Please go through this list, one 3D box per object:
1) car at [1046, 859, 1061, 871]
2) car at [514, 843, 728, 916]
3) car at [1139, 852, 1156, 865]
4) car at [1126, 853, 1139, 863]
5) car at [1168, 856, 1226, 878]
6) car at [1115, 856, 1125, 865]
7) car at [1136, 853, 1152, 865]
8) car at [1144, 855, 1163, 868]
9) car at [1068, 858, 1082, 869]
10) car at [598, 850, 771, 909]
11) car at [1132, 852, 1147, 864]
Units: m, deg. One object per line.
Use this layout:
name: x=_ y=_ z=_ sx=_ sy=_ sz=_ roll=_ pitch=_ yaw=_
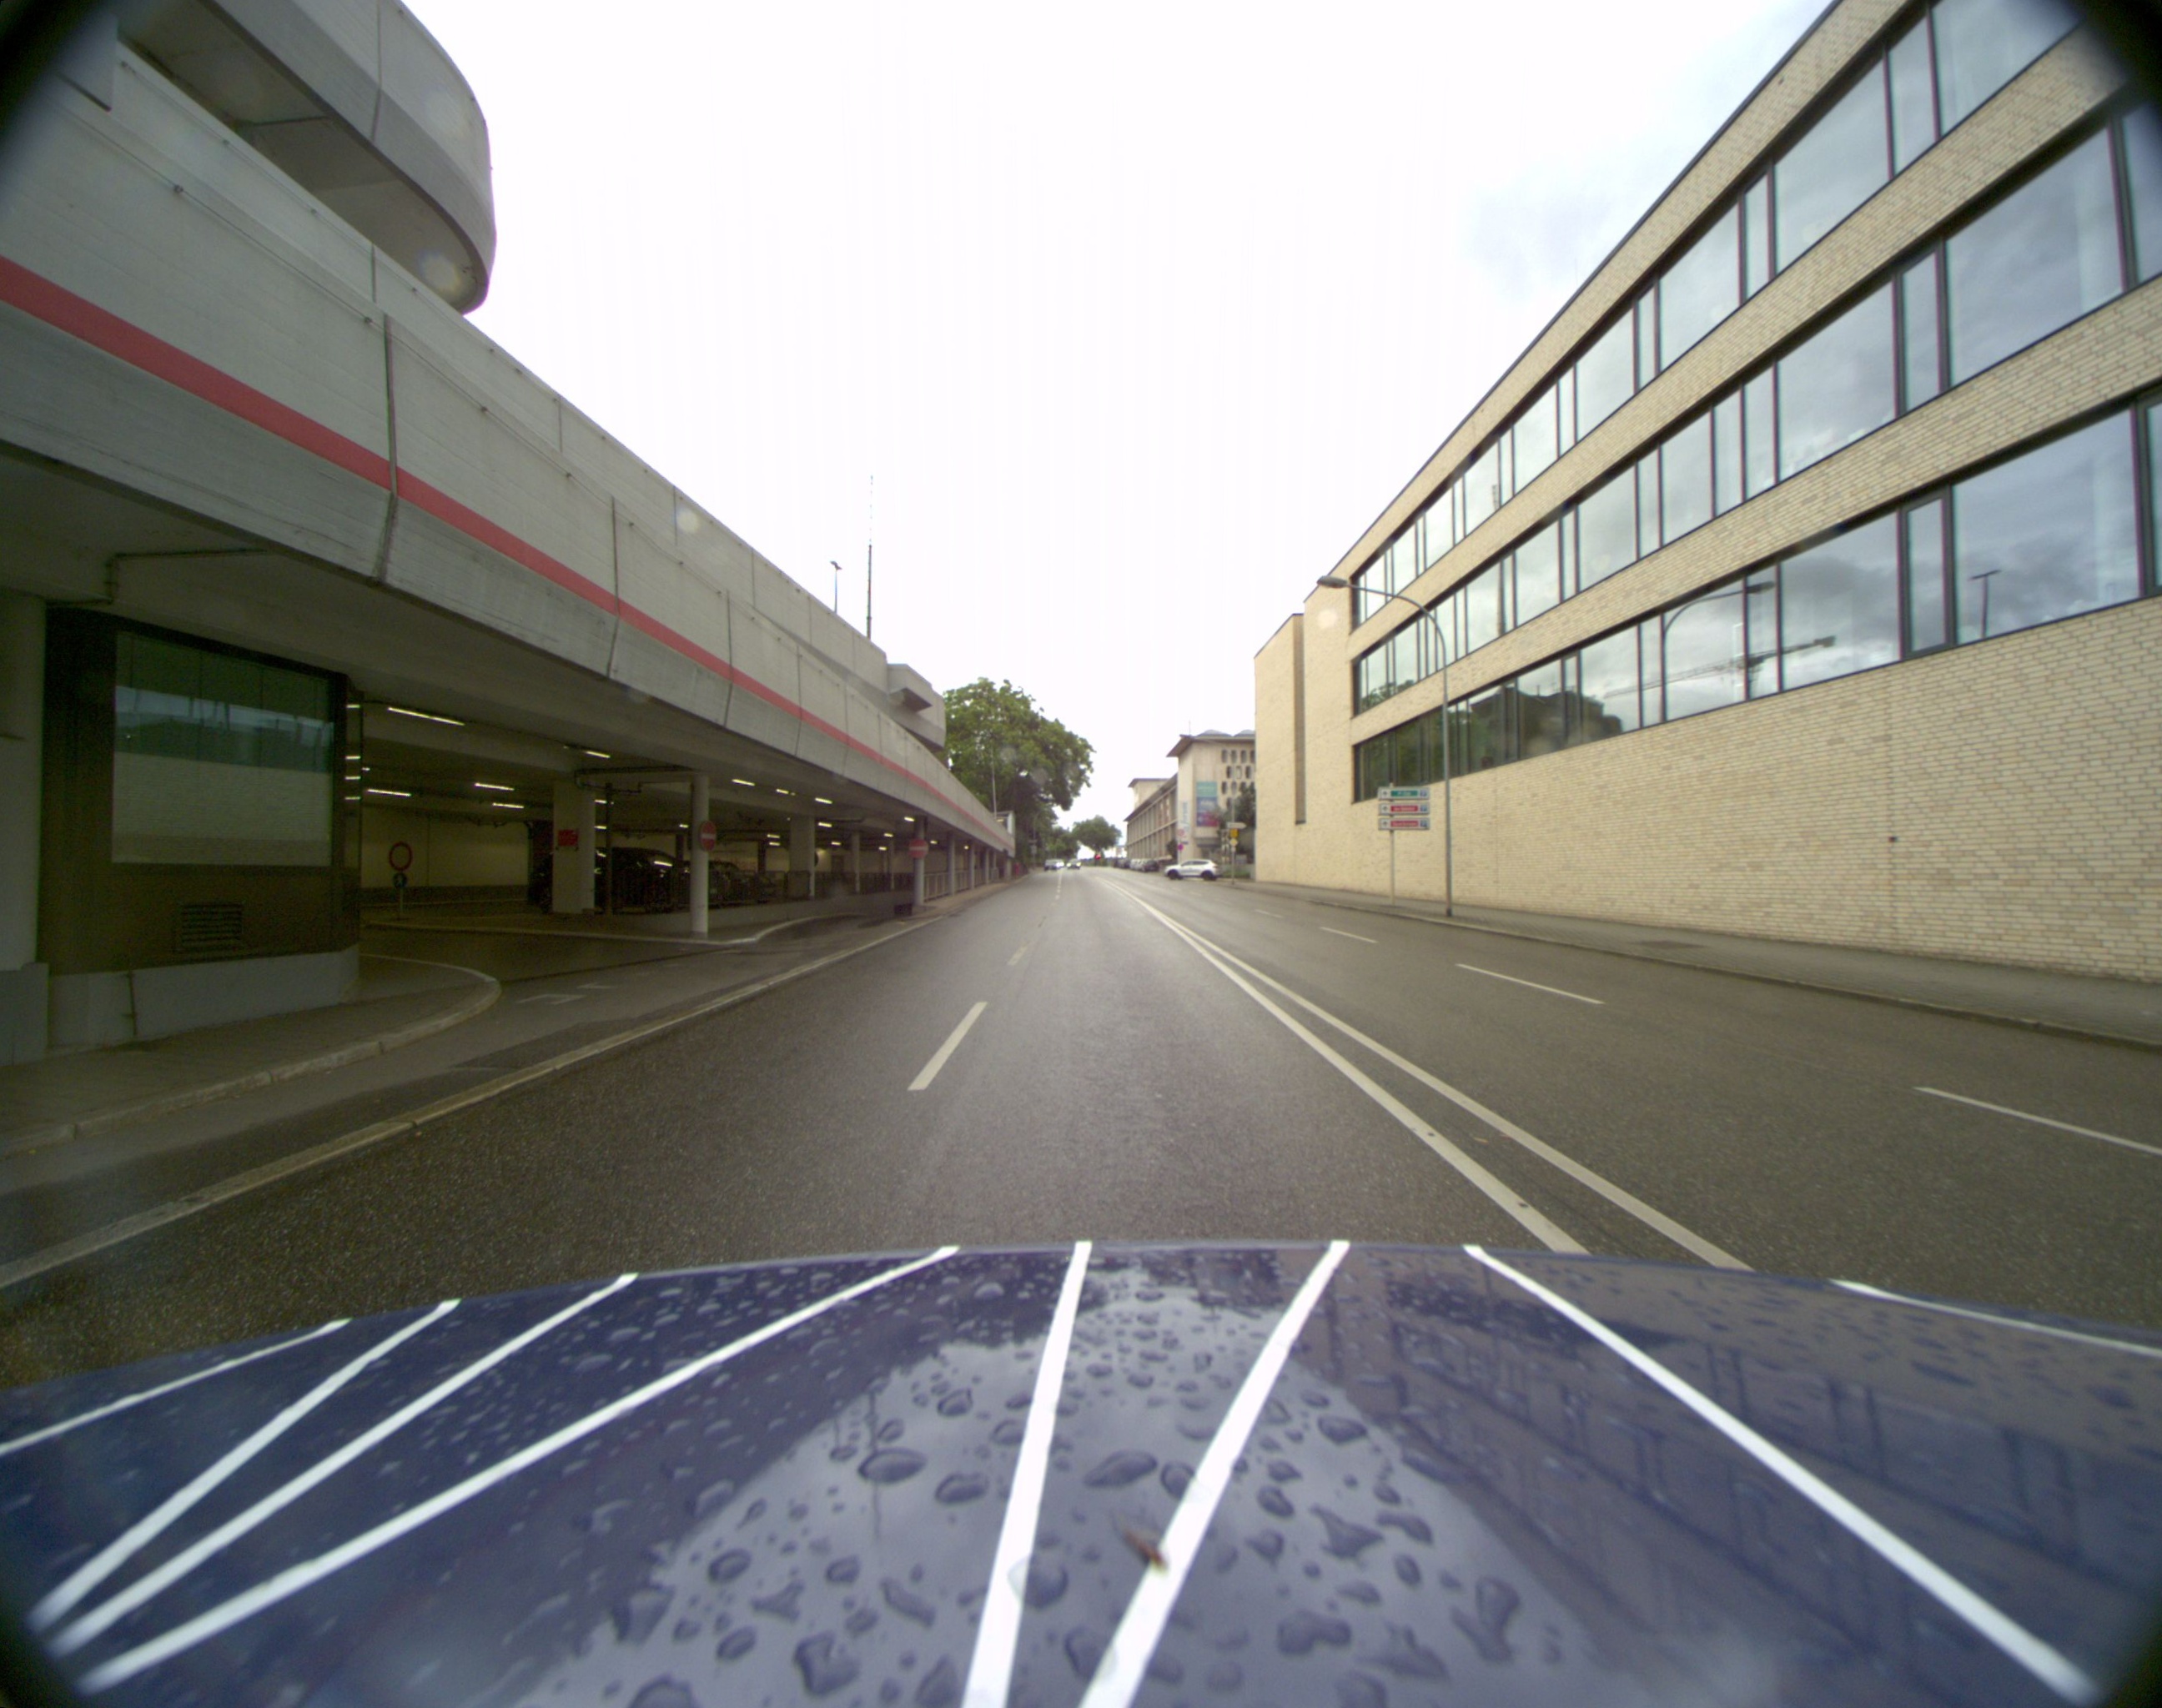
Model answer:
car: x=-3.654 y=1.405 z=100.941 sx=1.683 sy=1.516 sz=3.990 roll=-2 pitch=-1 yaw=1
car: x=-11.388 y=0.693 z=18.964 sx=4.251 sy=1.650 sz=2.003 roll=-1 pitch=-4 yaw=10
car: x=8.498 y=0.591 z=96.694 sx=1.800 sy=1.516 sz=4.056 roll=-2 pitch=-1 yaw=1
car: x=8.214 y=0.609 z=121.786 sx=1.800 sy=1.516 sz=4.056 roll=-2 pitch=-1 yaw=1
car: x=8.888 y=0.981 z=58.206 sx=4.046 sy=1.516 sz=1.805 roll=-2 pitch=-1 yaw=24
car: x=7.254 y=1.213 z=142.661 sx=1.698 sy=1.715 sz=3.756 roll=-2 pitch=1 yaw=1
car: x=8.385 y=0.659 z=101.809 sx=1.800 sy=1.516 sz=4.056 roll=-2 pitch=-1 yaw=1
car: x=8.629 y=0.914 z=90.865 sx=1.800 sy=1.516 sz=4.056 roll=-2 pitch=-1 yaw=1
car: x=-0.819 y=1.399 z=110.914 sx=1.852 sy=1.516 sz=3.990 roll=-2 pitch=-1 yaw=1
car: x=-11.919 y=0.817 z=22.988 sx=4.251 sy=1.650 sz=2.003 roll=-1 pitch=-4 yaw=10
car: x=8.266 y=0.570 z=106.910 sx=1.800 sy=1.516 sz=4.056 roll=-2 pitch=-1 yaw=1
